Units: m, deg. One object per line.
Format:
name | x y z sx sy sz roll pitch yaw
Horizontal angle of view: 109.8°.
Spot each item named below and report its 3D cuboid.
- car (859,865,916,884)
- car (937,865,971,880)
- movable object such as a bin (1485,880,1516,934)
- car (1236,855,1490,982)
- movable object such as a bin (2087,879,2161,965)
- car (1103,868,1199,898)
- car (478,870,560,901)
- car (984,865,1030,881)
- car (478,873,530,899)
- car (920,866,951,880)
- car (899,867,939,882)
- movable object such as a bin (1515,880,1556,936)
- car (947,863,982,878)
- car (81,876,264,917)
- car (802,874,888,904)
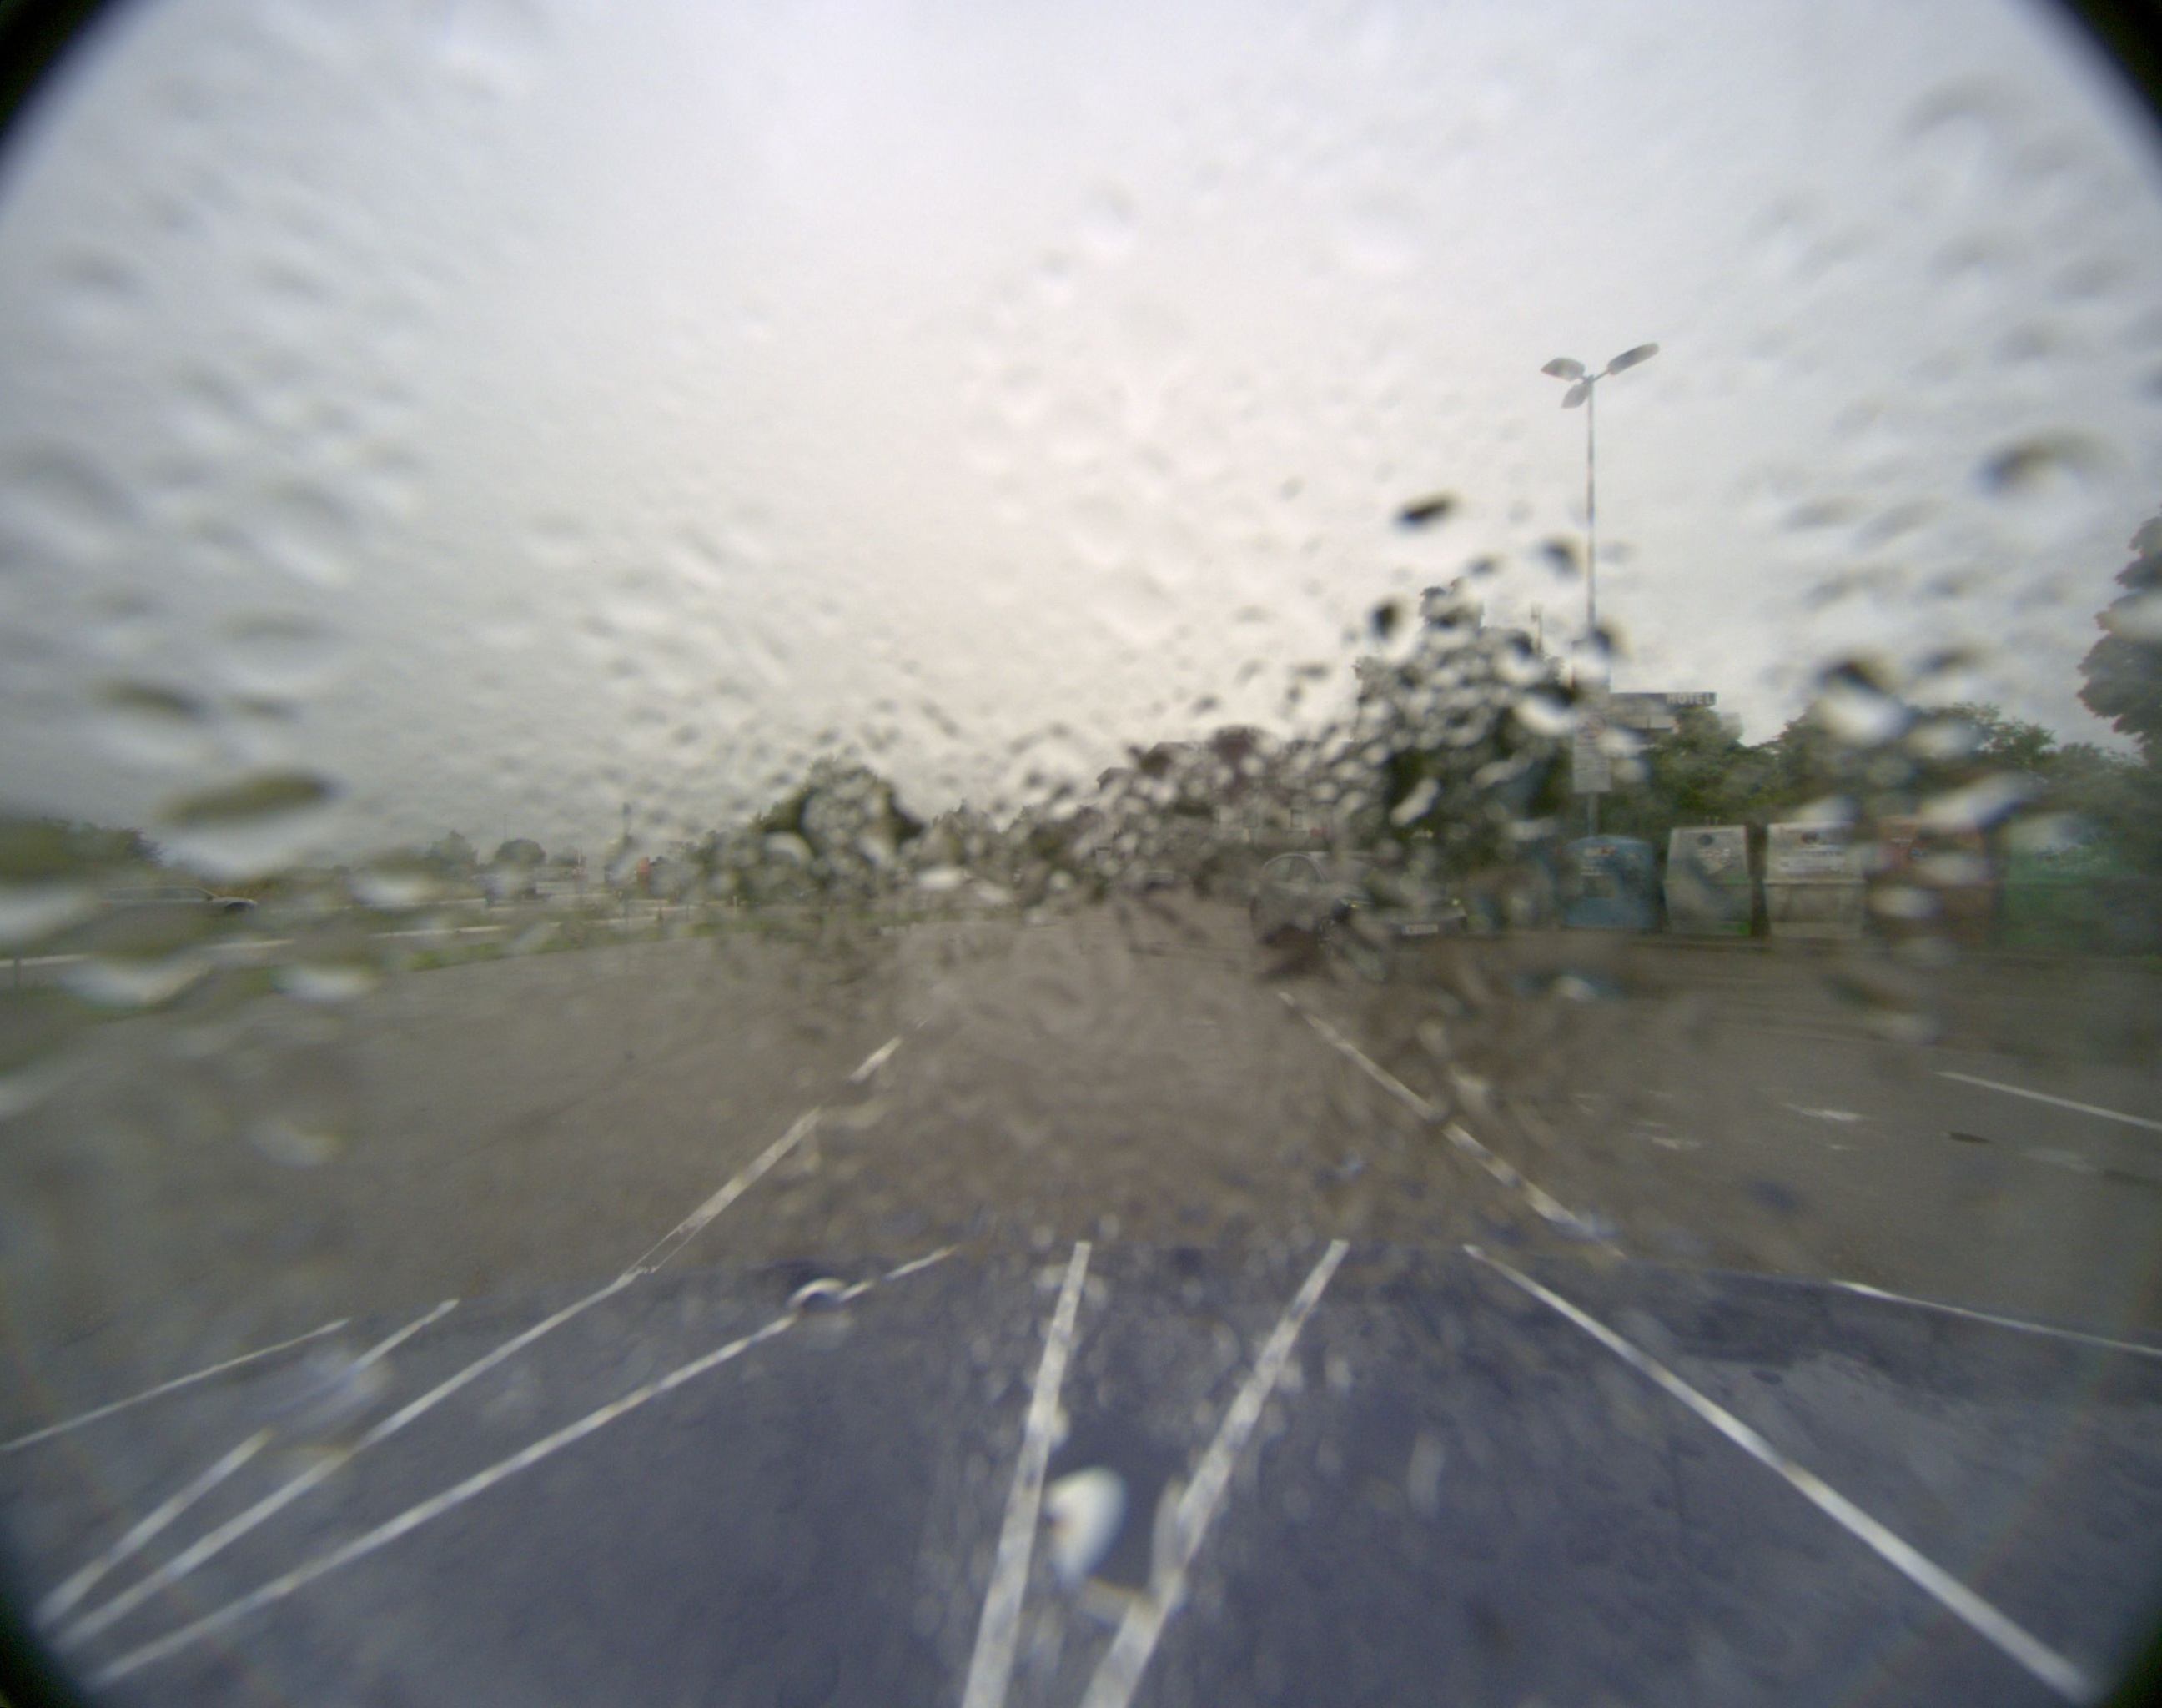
car | -19.953 2.151 78.413 5.374 1.711 2.000 -2 -1 -2
car | -15.028 2.196 90.076 3.878 1.560 1.753 -3 -1 38
movable object such as a bin | 7.560 0.948 13.702 0.434 0.943 0.474 -2 0 25
car | 4.151 0.853 12.157 1.999 1.565 4.498 -2 0 -6
movable object such as a bin | 11.706 0.745 8.538 0.510 0.917 0.437 0 -1 -39
car | 3.433 1.426 37.583 4.318 1.440 1.873 -1 -1 26
car | -34.727 1.909 47.135 1.891 1.674 4.668 1 1 -4
car | -7.220 1.880 74.350 4.358 1.416 1.850 -1 -1 -3
car | -46.058 2.558 60.657 3.989 2.001 2.004 -2 -1 32
car | -16.881 2.244 88.239 3.716 1.540 1.670 -3 -1 43
car | -18.353 2.349 86.133 4.636 1.541 2.004 -3 -1 41
movable object such as a bin | 7.925 0.931 13.254 0.405 0.943 0.450 -2 0 1
car | -14.106 2.010 92.067 3.989 1.717 1.994 -3 -1 37
car | -35.630 1.620 29.961 1.752 1.317 4.317 1 1 25
car | -13.360 1.945 43.027 4.366 1.416 1.703 -2 0 -28
